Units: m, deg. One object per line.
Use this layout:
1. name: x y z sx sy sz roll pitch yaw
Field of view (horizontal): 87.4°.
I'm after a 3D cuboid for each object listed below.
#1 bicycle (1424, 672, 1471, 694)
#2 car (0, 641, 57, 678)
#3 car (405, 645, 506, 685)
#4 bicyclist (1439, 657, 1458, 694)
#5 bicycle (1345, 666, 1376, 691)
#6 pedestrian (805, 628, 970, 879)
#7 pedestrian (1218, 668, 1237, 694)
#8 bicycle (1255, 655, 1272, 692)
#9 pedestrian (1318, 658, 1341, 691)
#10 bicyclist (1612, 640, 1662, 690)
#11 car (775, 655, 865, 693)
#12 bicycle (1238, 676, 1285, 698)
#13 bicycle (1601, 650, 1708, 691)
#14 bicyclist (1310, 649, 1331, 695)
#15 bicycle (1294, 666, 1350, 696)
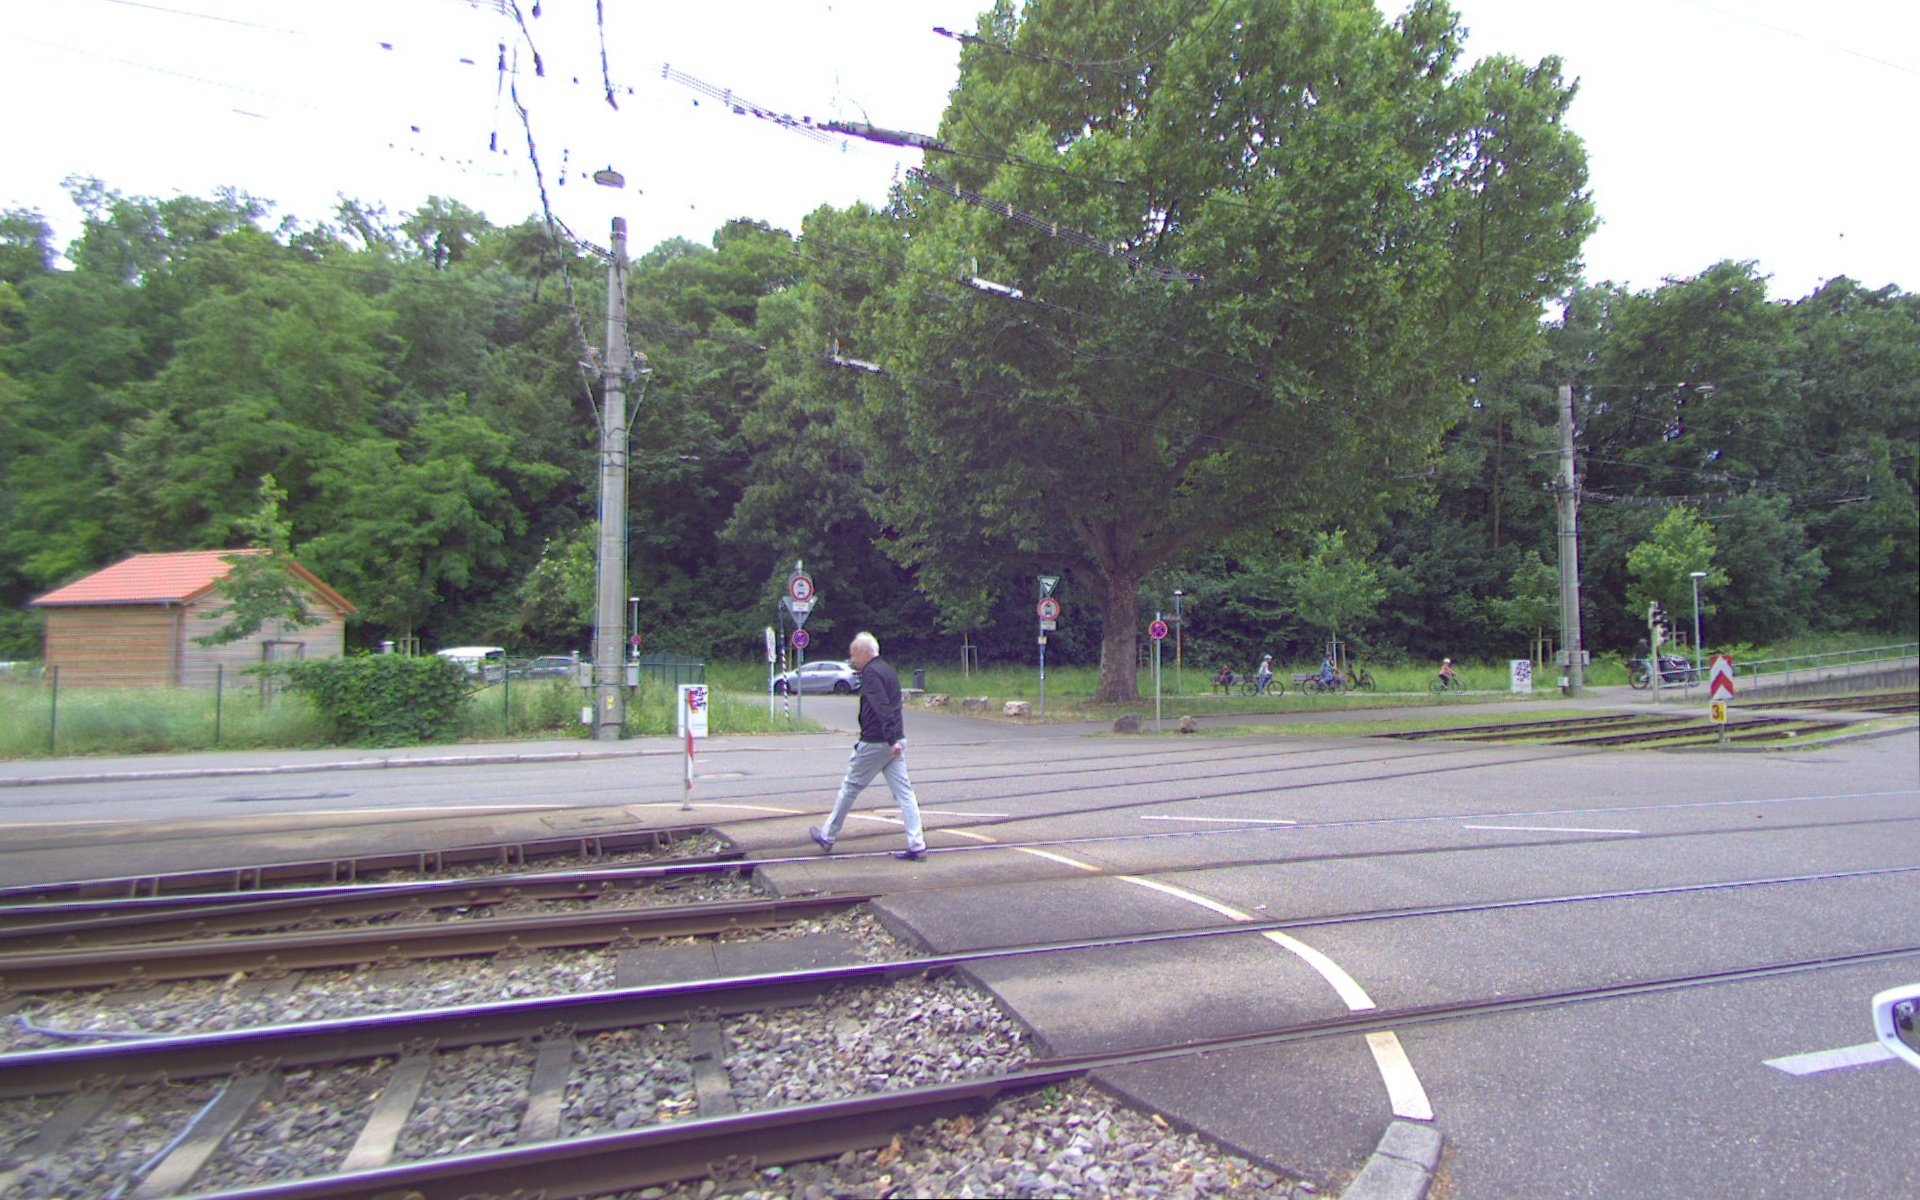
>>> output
1. bicycle: 18.234 3.111 37.572 1.531 0.748 0.454 -3 1 29
2. car: -46.652 2.880 49.085 3.606 1.634 1.759 1 -1 7
3. car: -22.650 2.896 45.175 3.606 1.634 1.911 1 -1 10
4. bicyclist: 18.269 2.821 37.542 0.571 1.318 0.454 -3 1 28
5. bicycle: 16.017 3.122 40.170 0.610 0.897 1.747 1 -1 3
6. pedestrian: -0.583 1.120 7.887 0.806 1.783 1.109 2 -1 -37
7. pedestrian: 10.573 3.194 39.717 0.608 1.003 0.532 1 -1 -2
8. bicycle: 11.422 2.764 37.801 0.505 1.347 0.455 -2 0 10
9. pedestrian: 14.569 2.928 39.620 0.660 1.251 0.580 1 -1 -3
10. bicyclist: 24.801 2.376 36.818 1.266 1.734 0.735 -2 1 4
11. car: -5.909 3.109 42.592 3.432 1.443 1.702 1 -1 10
12. bicycle: 11.341 3.268 37.822 1.619 0.748 0.455 -2 0 10
13. bicycle: 25.421 2.562 36.788 3.279 1.307 0.735 -3 1 4
14. bicyclist: 13.576 2.719 37.833 0.611 1.697 0.475 -1 0 9
15. bicycle: 13.610 3.056 37.827 1.905 1.055 0.475 -1 0 9
